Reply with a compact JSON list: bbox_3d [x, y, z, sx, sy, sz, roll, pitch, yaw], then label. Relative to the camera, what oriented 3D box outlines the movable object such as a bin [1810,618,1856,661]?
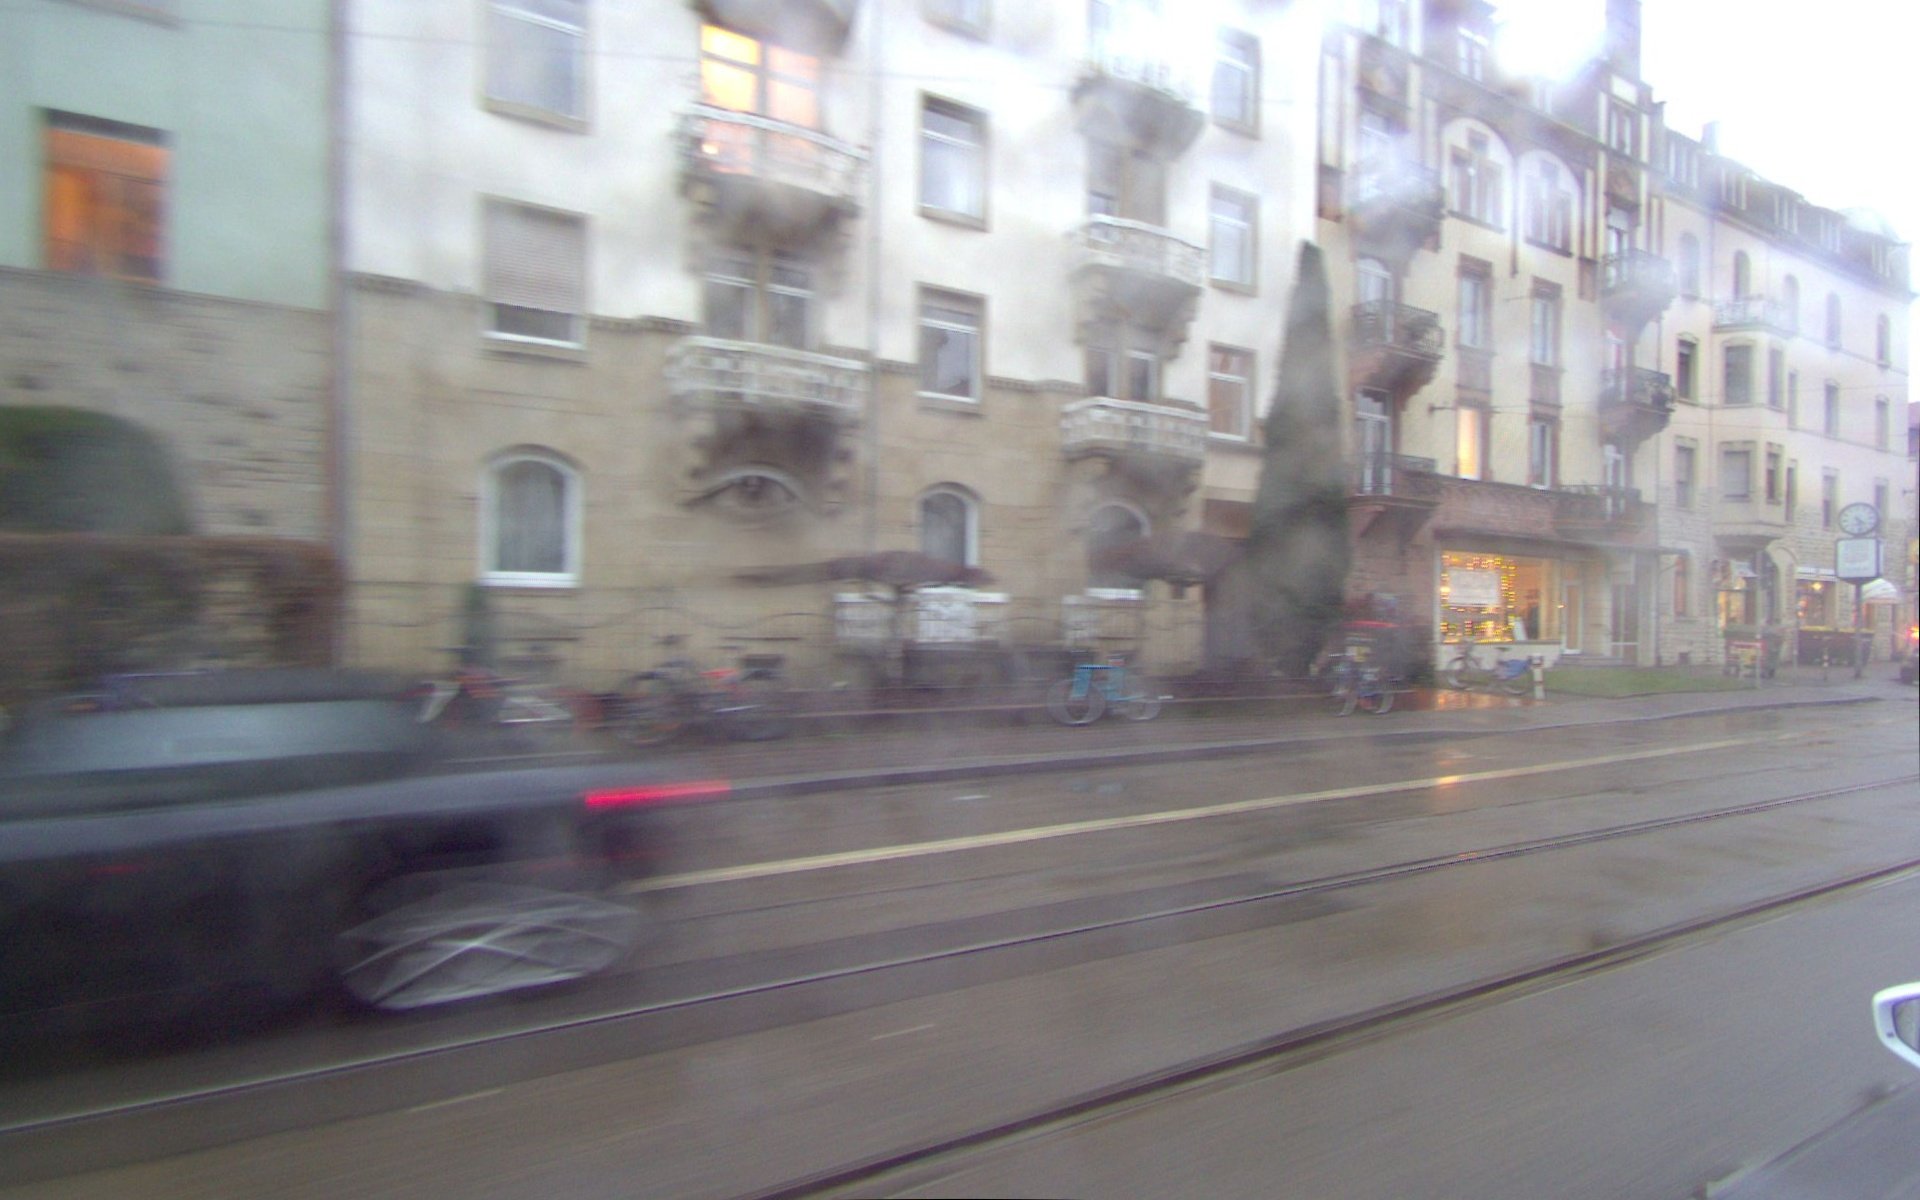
[{"bbox_3d":[33.212,1.484,38.213,1.067,1.622,1.010,0,-1,-28],"label":"movable object such as a bin"}]

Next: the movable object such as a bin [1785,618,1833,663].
[{"bbox_3d":[31.175,1.472,36.902,1.067,1.622,1.010,0,-1,-28],"label":"movable object such as a bin"}]

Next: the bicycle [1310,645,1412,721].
[{"bbox_3d":[6.362,1.284,15.897,1.792,1.095,0.610,0,-1,-35],"label":"bicycle"}]

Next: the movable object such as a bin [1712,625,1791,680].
[{"bbox_3d":[23.022,1.496,29.216,1.348,1.551,1.402,0,-1,-30],"label":"movable object such as a bin"}]

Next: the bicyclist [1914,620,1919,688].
[{"bbox_3d":[23.512,1.301,24.053,0.920,1.624,0.713,0,-1,-30],"label":"bicyclist"}]

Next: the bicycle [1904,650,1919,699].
[{"bbox_3d":[23.415,1.769,23.992,2.040,1.125,0.713,0,-1,-31],"label":"bicycle"}]

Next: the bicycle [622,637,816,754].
[{"bbox_3d":[-2.461,0.947,10.388,1.909,1.114,0.484,1,-2,-32],"label":"bicycle"}]

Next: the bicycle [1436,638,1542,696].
[{"bbox_3d":[10.572,1.318,20.140,0.610,1.095,1.792,0,-1,-36],"label":"bicycle"}]

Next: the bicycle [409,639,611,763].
[{"bbox_3d":[-4.160,0.896,9.350,1.583,1.044,0.686,2,-2,-40],"label":"bicycle"}]

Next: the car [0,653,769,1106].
[{"bbox_3d":[-2.840,0.874,3.846,3.831,1.214,1.651,0,-1,-32],"label":"car"}]

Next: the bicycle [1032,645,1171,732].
[{"bbox_3d":[1.835,1.110,12.931,1.785,1.031,0.622,1,-2,-32],"label":"bicycle"}]

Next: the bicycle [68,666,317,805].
[{"bbox_3d":[-6.414,1.090,8.467,1.583,1.044,0.686,3,-3,-40],"label":"bicycle"}]

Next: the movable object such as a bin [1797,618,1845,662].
[{"bbox_3d":[32.194,1.484,37.578,1.140,1.622,1.010,0,-1,-28],"label":"movable object such as a bin"}]

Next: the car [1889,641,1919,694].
[{"bbox_3d":[29.304,1.975,29.562,3.953,1.466,1.825,0,-1,-30],"label":"car"}]

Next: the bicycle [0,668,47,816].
[{"bbox_3d":[-7.732,0.999,7.216,1.581,1.044,0.687,6,-4,-35],"label":"bicycle"}]
